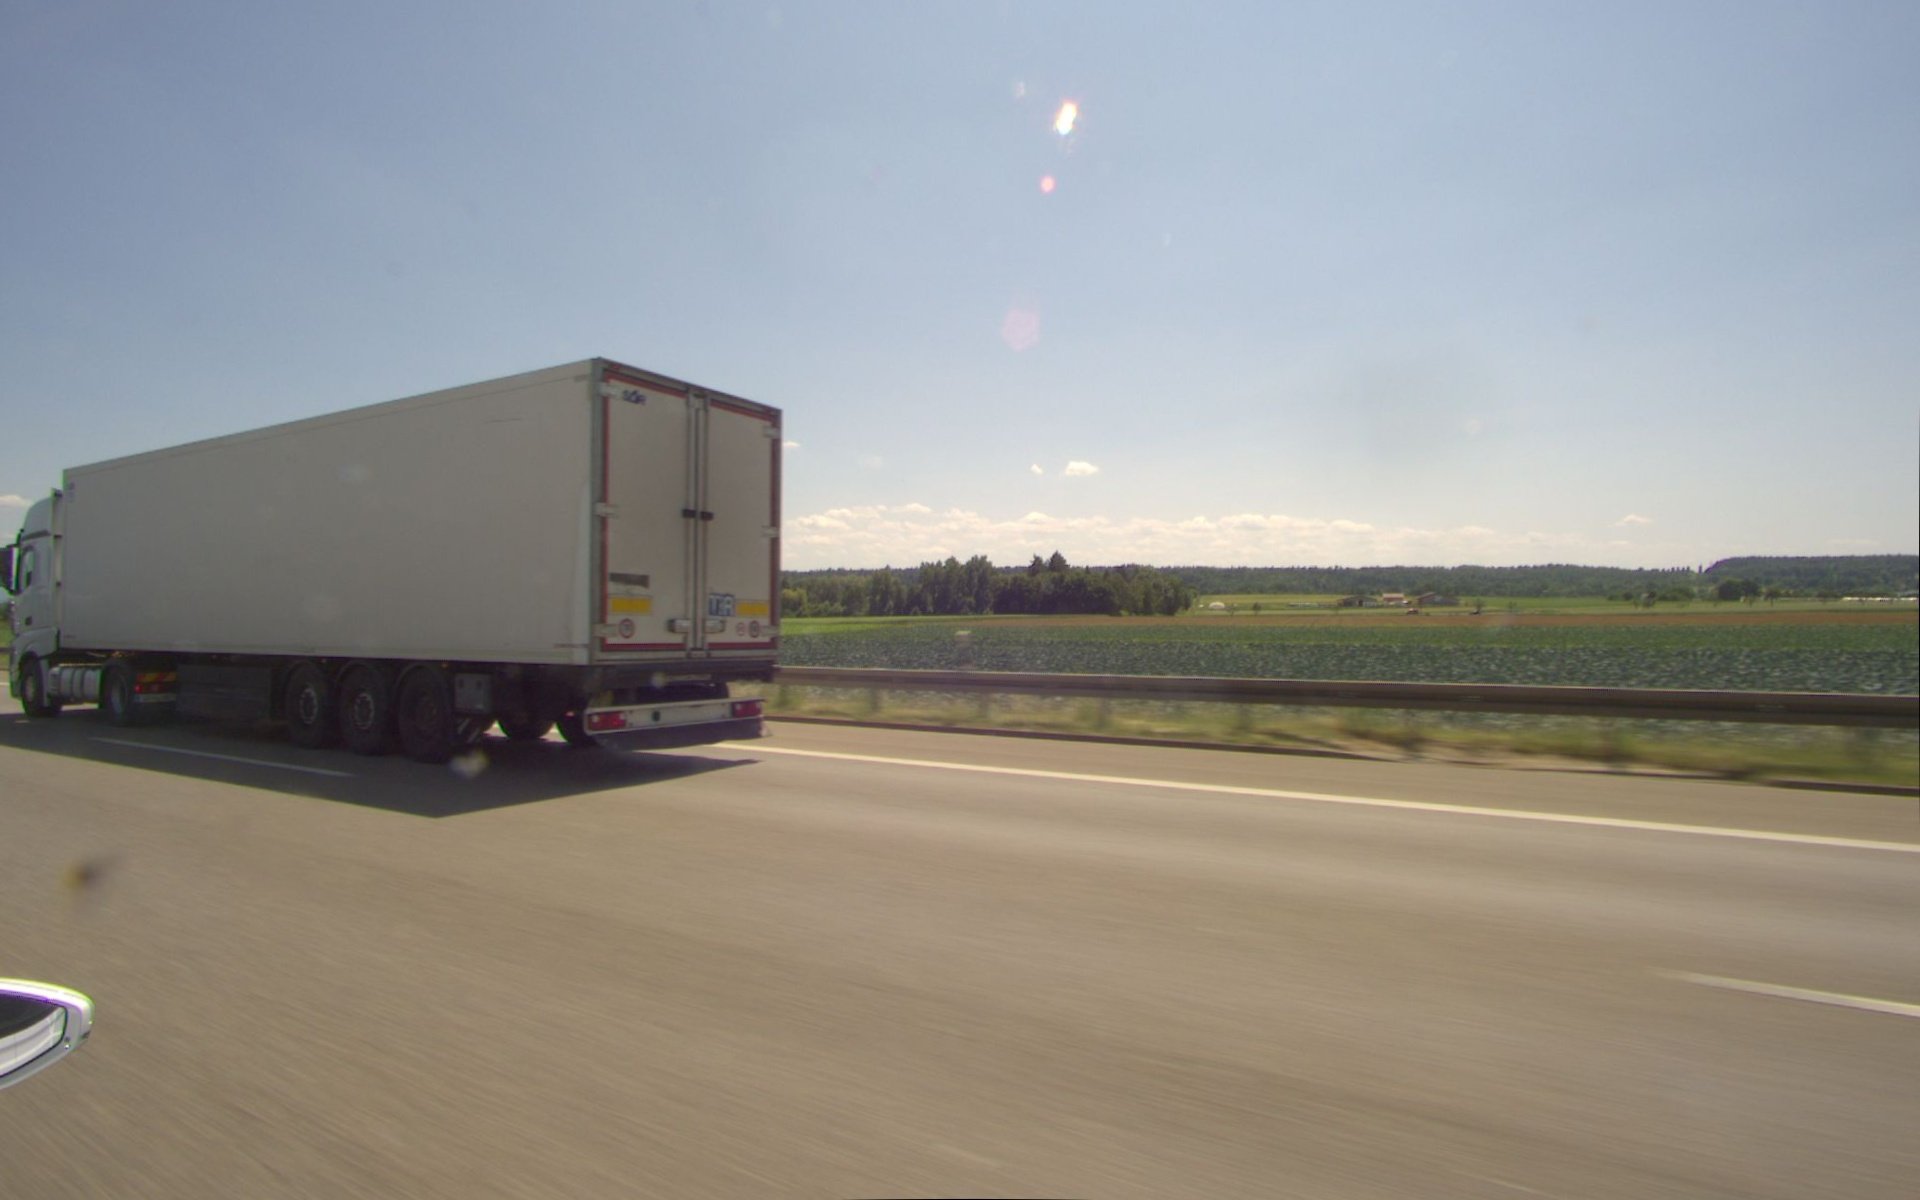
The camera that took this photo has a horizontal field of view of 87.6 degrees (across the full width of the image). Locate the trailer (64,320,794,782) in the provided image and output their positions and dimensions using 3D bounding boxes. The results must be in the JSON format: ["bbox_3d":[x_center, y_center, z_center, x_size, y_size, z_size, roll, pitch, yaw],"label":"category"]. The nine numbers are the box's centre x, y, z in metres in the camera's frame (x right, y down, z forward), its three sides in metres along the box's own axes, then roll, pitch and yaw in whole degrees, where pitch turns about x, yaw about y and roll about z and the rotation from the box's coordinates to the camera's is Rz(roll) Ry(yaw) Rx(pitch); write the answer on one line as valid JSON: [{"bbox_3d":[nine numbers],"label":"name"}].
[{"bbox_3d":[-8.228,-0.284,13.971,13.105,4.273,2.863,-1,-2,32],"label":"trailer"}]

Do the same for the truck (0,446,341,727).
[{"bbox_3d":[-14.288,-0.091,17.789,6.780,4.143,2.859,-1,-2,32],"label":"truck"}]
